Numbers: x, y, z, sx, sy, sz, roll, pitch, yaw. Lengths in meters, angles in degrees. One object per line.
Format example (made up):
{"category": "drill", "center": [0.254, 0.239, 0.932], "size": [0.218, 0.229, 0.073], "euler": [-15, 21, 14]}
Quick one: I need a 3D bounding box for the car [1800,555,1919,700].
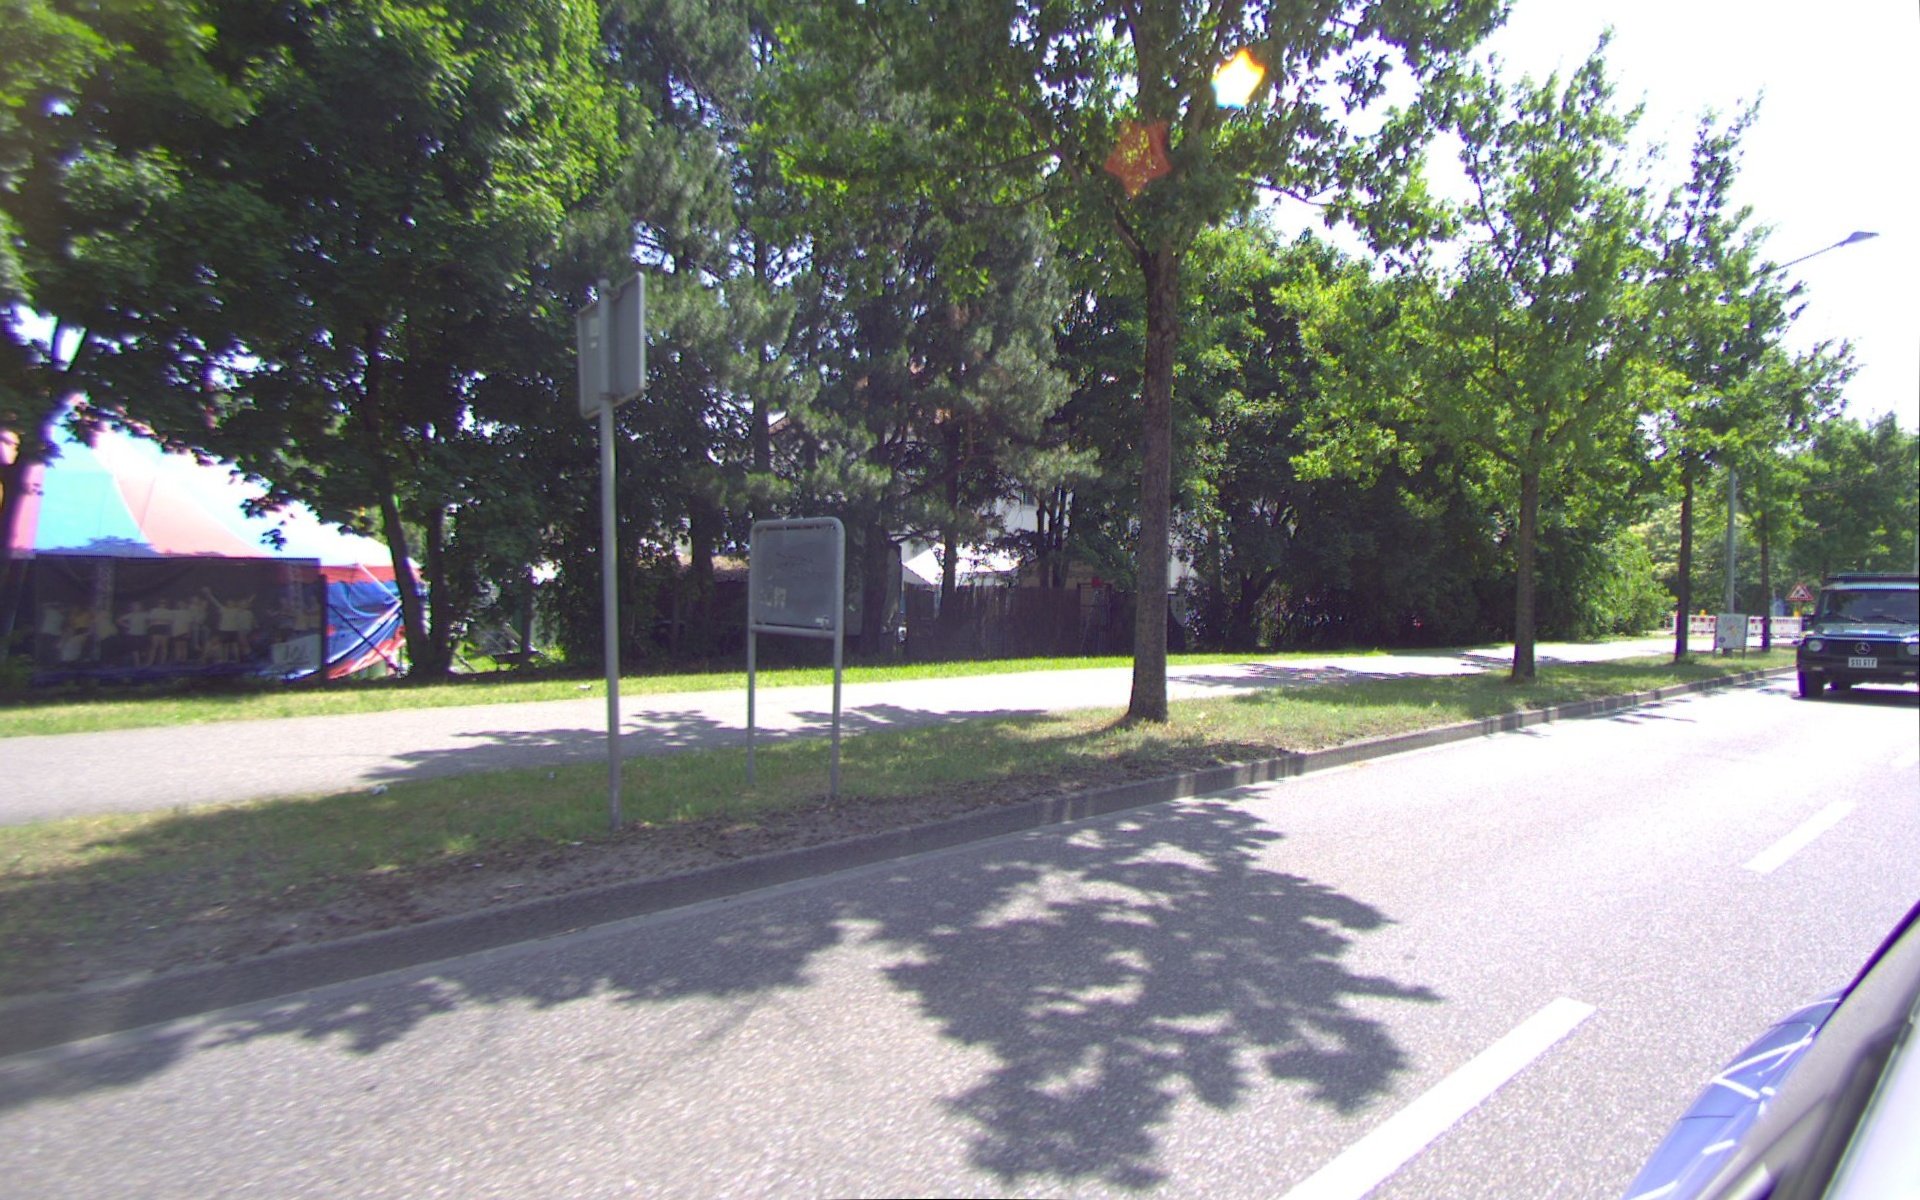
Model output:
{"category": "car", "center": [15.800, 0.409, 17.116], "size": [4.480, 2.180, 1.839], "euler": [0, 1, -42]}
